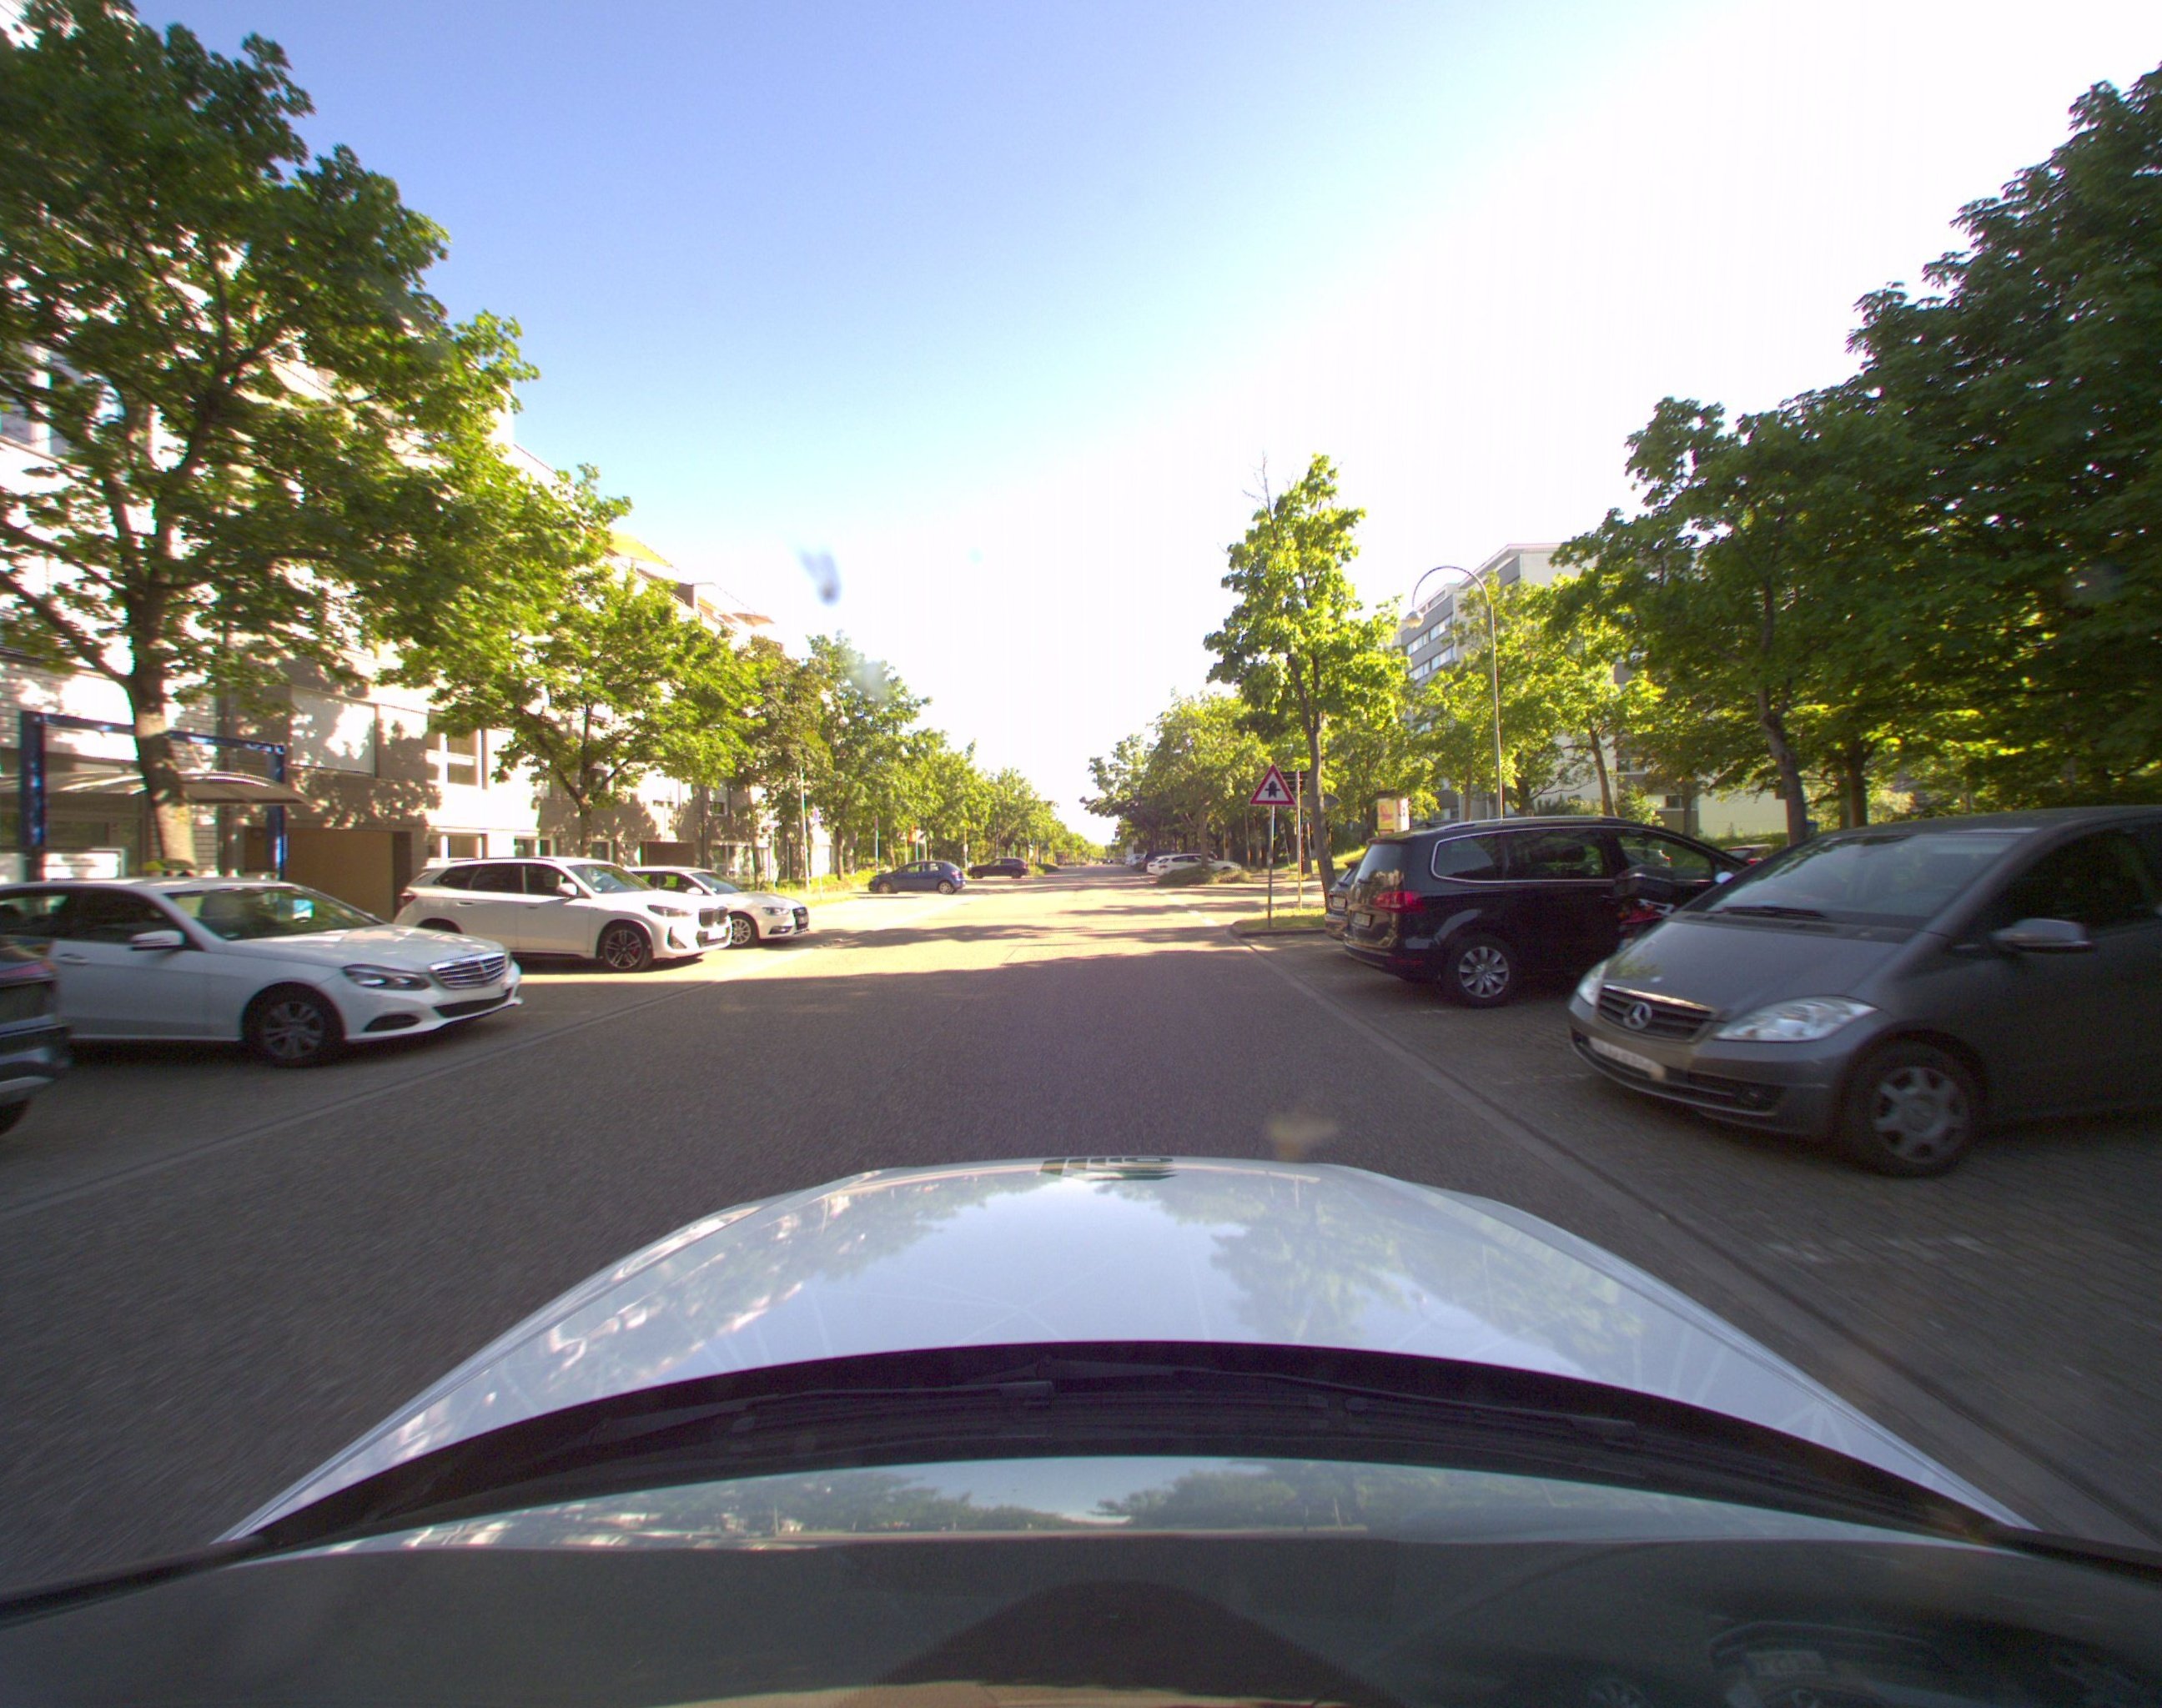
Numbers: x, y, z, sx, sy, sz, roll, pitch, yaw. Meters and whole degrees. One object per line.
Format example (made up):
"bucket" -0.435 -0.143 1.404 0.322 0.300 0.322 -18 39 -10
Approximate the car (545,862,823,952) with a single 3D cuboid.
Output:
"car" -7.253 0.945 15.194 4.244 1.480 1.800 -1 0 0

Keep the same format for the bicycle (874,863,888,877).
"bicycle" -15.140 1.199 61.673 0.435 1.047 2.194 -1 0 2

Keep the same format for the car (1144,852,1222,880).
"car" 6.080 0.712 48.845 4.429 1.545 1.816 -1 -1 -2

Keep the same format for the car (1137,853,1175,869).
"car" 8.101 0.761 88.609 3.972 1.451 1.718 -3 0 1

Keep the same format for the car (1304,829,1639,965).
"car" 5.251 0.526 11.265 3.824 1.446 1.591 -4 1 -2

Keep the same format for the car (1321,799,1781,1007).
"car" 4.553 0.466 8.363 3.656 1.751 1.726 -3 -1 3

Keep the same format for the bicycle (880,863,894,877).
"bicycle" -14.648 1.202 61.646 0.435 1.047 2.194 -1 0 2

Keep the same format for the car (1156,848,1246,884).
"car" 6.262 0.614 42.840 4.414 1.593 1.836 -3 -1 -2

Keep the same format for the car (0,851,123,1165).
"car" -7.652 0.805 3.901 4.095 1.620 1.804 0 0 3

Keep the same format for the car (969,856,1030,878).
"car" -5.869 0.961 58.808 4.176 1.520 1.773 -1 -1 2

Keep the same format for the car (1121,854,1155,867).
"car" 7.482 0.852 107.339 4.329 1.489 1.737 -4 -1 -1

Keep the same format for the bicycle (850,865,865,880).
"bicycle" -16.578 1.376 60.373 0.435 1.047 2.194 -1 0 2

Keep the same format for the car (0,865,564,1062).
"car" -7.448 0.842 7.144 4.498 1.451 1.939 0 0 -3

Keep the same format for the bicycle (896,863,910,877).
"bicycle" -13.123 1.173 60.095 0.435 1.047 2.194 -1 0 2

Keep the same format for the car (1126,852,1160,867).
"car" 8.393 0.719 110.024 4.421 1.647 1.816 -4 0 0

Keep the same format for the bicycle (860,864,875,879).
"bicycle" -15.771 1.302 60.084 0.435 1.047 2.194 -1 0 2

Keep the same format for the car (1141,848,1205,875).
"car" 6.827 0.547 60.975 4.570 1.779 2.001 -3 -1 1

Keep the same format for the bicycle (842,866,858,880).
"bicycle" -17.112 1.393 60.384 0.435 1.047 2.194 -1 0 2

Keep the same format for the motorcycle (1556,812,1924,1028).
"motorcycle" 5.345 0.520 6.726 2.299 1.580 0.767 -3 -1 2

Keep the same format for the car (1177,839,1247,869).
"car" 8.331 0.015 52.122 4.105 1.618 1.733 -3 -2 -1

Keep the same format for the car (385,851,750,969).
"car" -7.507 0.780 12.247 4.209 1.602 1.954 0 -1 2

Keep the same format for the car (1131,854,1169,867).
"car" 7.919 0.727 93.446 4.252 1.428 1.831 -1 -1 6

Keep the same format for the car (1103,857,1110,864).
"car" 7.840 2.050 247.399 1.986 2.014 4.002 -1 0 2

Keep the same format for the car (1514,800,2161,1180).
"car" 4.848 0.546 4.563 3.862 1.565 1.807 -3 -1 -4

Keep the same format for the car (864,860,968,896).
"car" -6.868 0.975 34.194 3.977 1.411 1.816 -1 -1 -2

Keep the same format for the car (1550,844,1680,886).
"car" 21.193 0.409 32.447 3.974 1.530 1.835 -1 0 0
